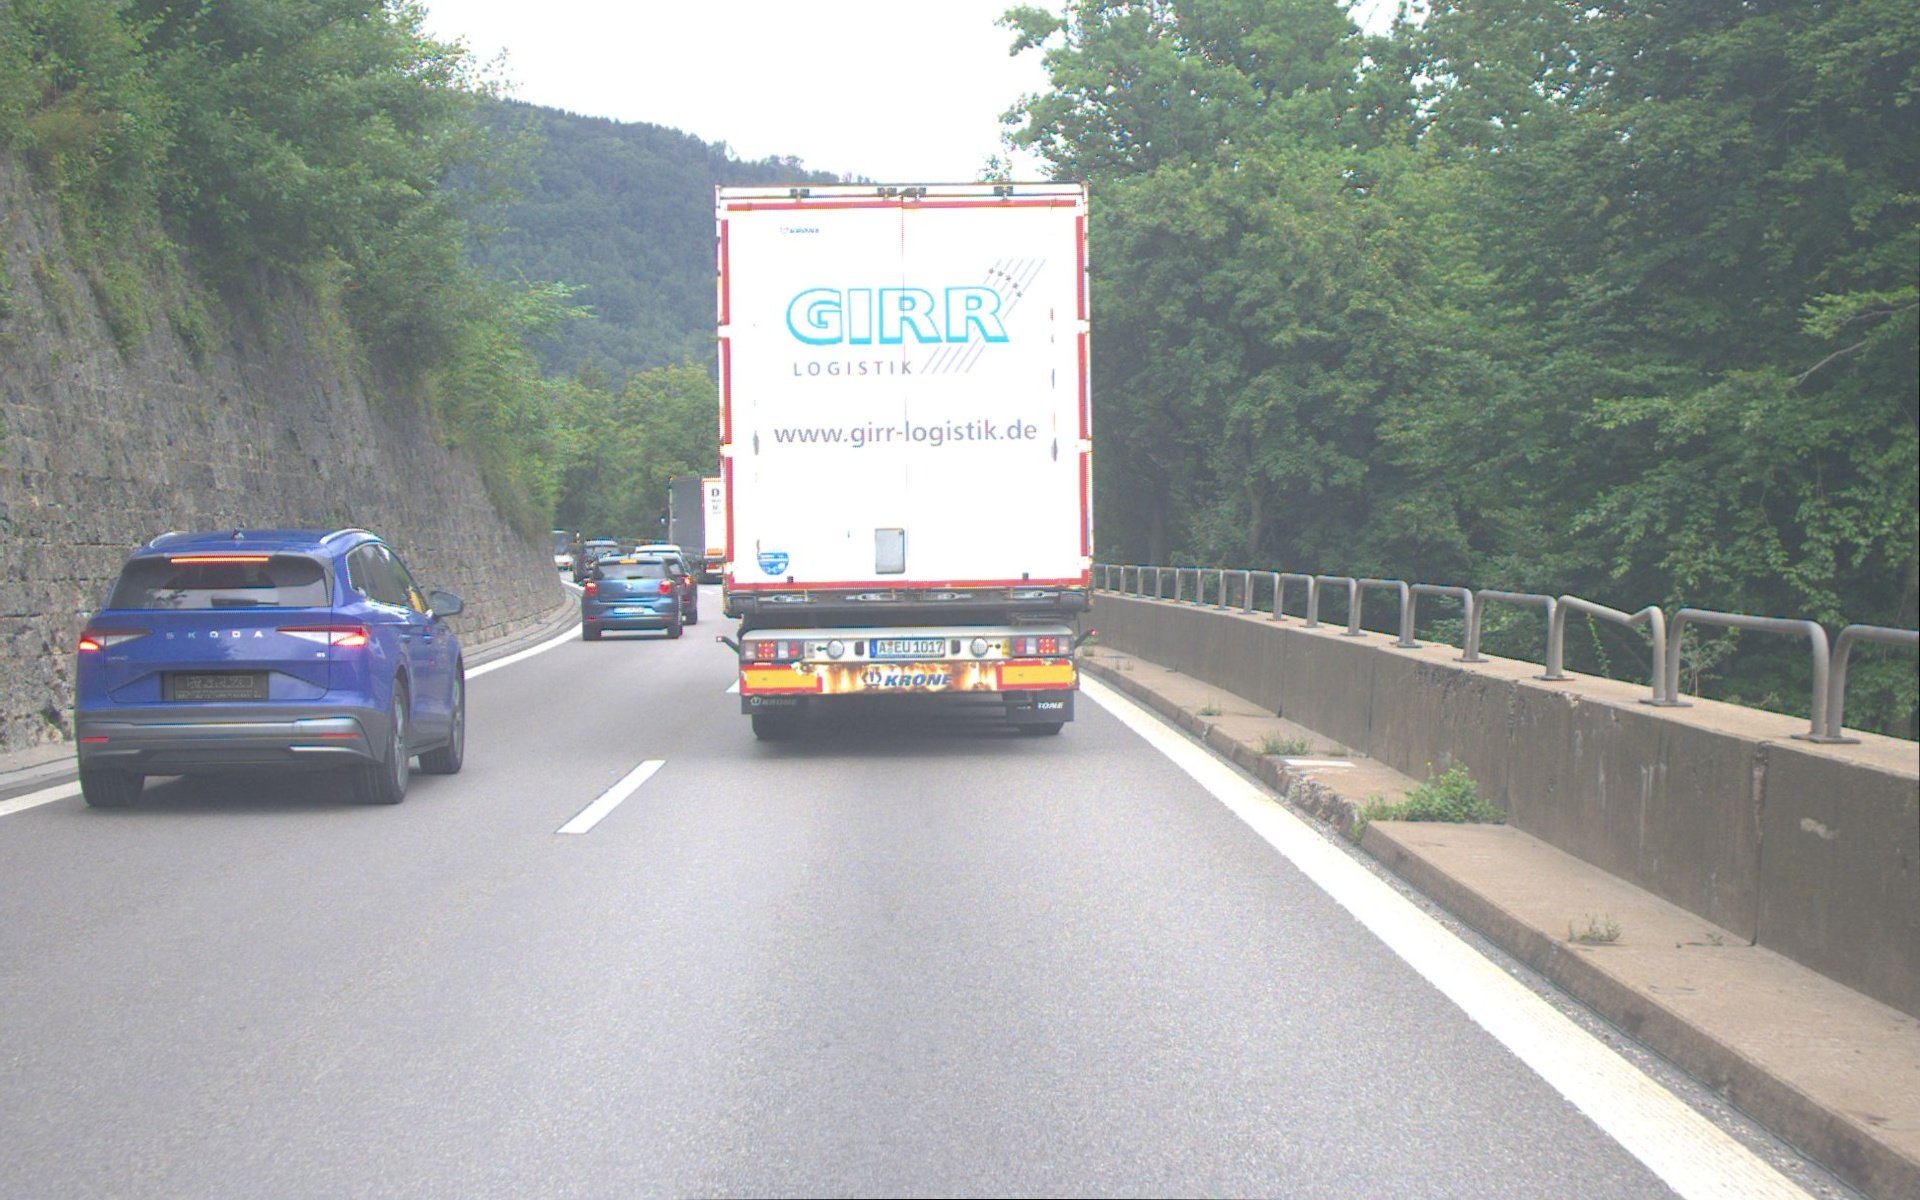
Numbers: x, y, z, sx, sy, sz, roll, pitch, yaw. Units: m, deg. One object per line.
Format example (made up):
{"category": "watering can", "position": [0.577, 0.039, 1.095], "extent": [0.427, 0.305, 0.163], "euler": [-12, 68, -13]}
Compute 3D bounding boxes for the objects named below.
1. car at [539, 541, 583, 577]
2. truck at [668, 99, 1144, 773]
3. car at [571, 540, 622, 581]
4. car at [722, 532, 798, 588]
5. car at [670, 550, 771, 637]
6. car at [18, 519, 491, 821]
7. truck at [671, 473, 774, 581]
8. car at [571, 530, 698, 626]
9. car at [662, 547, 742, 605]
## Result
{"category": "car", "position": [-18.995, -1.956, 163.545], "extent": [1.745, 1.581, 4.001], "euler": [5, 0, -10]}
{"category": "truck", "position": [-0.402, -1.273, 30.694], "extent": [3.084, 4.448, 15.156], "euler": [-1, 1, 0]}
{"category": "car", "position": [-14.074, -1.529, 132.857], "extent": [1.896, 1.545, 4.250], "euler": [0, 1, -7]}
{"category": "car", "position": [-6.226, -1.267, 106.662], "extent": [2.060, 1.648, 4.001], "euler": [-2, 1, -7]}
{"category": "car", "position": [-4.831, -0.131, 69.849], "extent": [1.745, 1.581, 4.000], "euler": [5, 0, -2]}
{"category": "car", "position": [-4.212, 0.351, 21.379], "extent": [1.993, 1.626, 5.009], "euler": [-1, 1, -1]}
{"category": "truck", "position": [-9.040, -2.746, 129.719], "extent": [2.633, 3.844, 12.363], "euler": [-2, 1, -9]}
{"category": "car", "position": [-5.652, -0.366, 60.062], "extent": [1.993, 1.590, 4.354], "euler": [-1, 0, -3]}
{"category": "car", "position": [-7.133, -0.684, 94.705], "extent": [1.896, 1.545, 4.251], "euler": [0, 1, -8]}
